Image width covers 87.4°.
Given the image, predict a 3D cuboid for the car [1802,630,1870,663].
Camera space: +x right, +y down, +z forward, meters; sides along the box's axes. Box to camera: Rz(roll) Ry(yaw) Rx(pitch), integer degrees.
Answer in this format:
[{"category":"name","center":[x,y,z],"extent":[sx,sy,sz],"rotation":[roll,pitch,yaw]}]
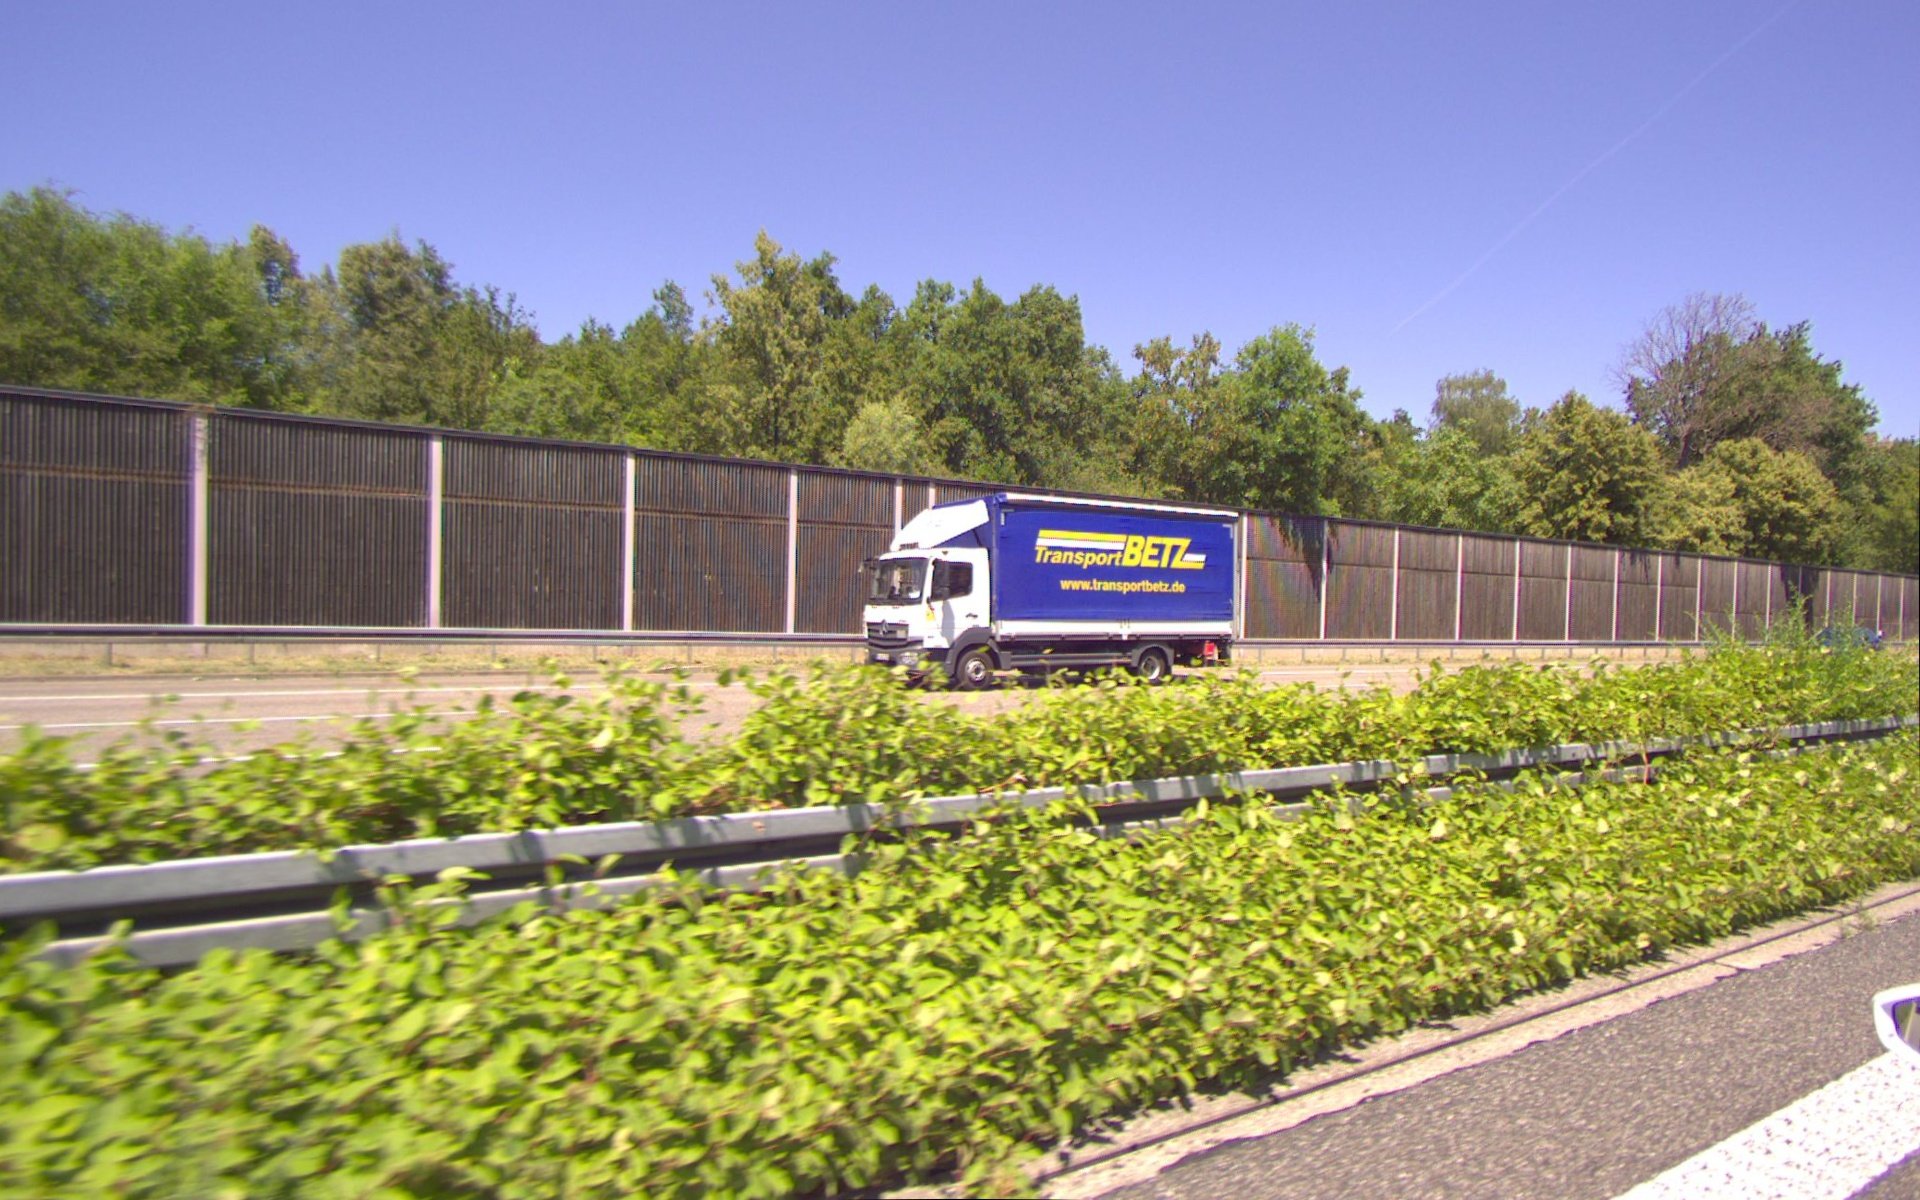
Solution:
[{"category":"car","center":[35.320,1.858,40.495],"extent":[2.996,1.272,1.272],"rotation":[1,0,-33]}]

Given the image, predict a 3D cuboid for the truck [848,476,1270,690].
[{"category":"truck","center":[2.240,-0.197,20.642],"extent":[8.644,3.657,2.818],"rotation":[2,0,-31]}]
